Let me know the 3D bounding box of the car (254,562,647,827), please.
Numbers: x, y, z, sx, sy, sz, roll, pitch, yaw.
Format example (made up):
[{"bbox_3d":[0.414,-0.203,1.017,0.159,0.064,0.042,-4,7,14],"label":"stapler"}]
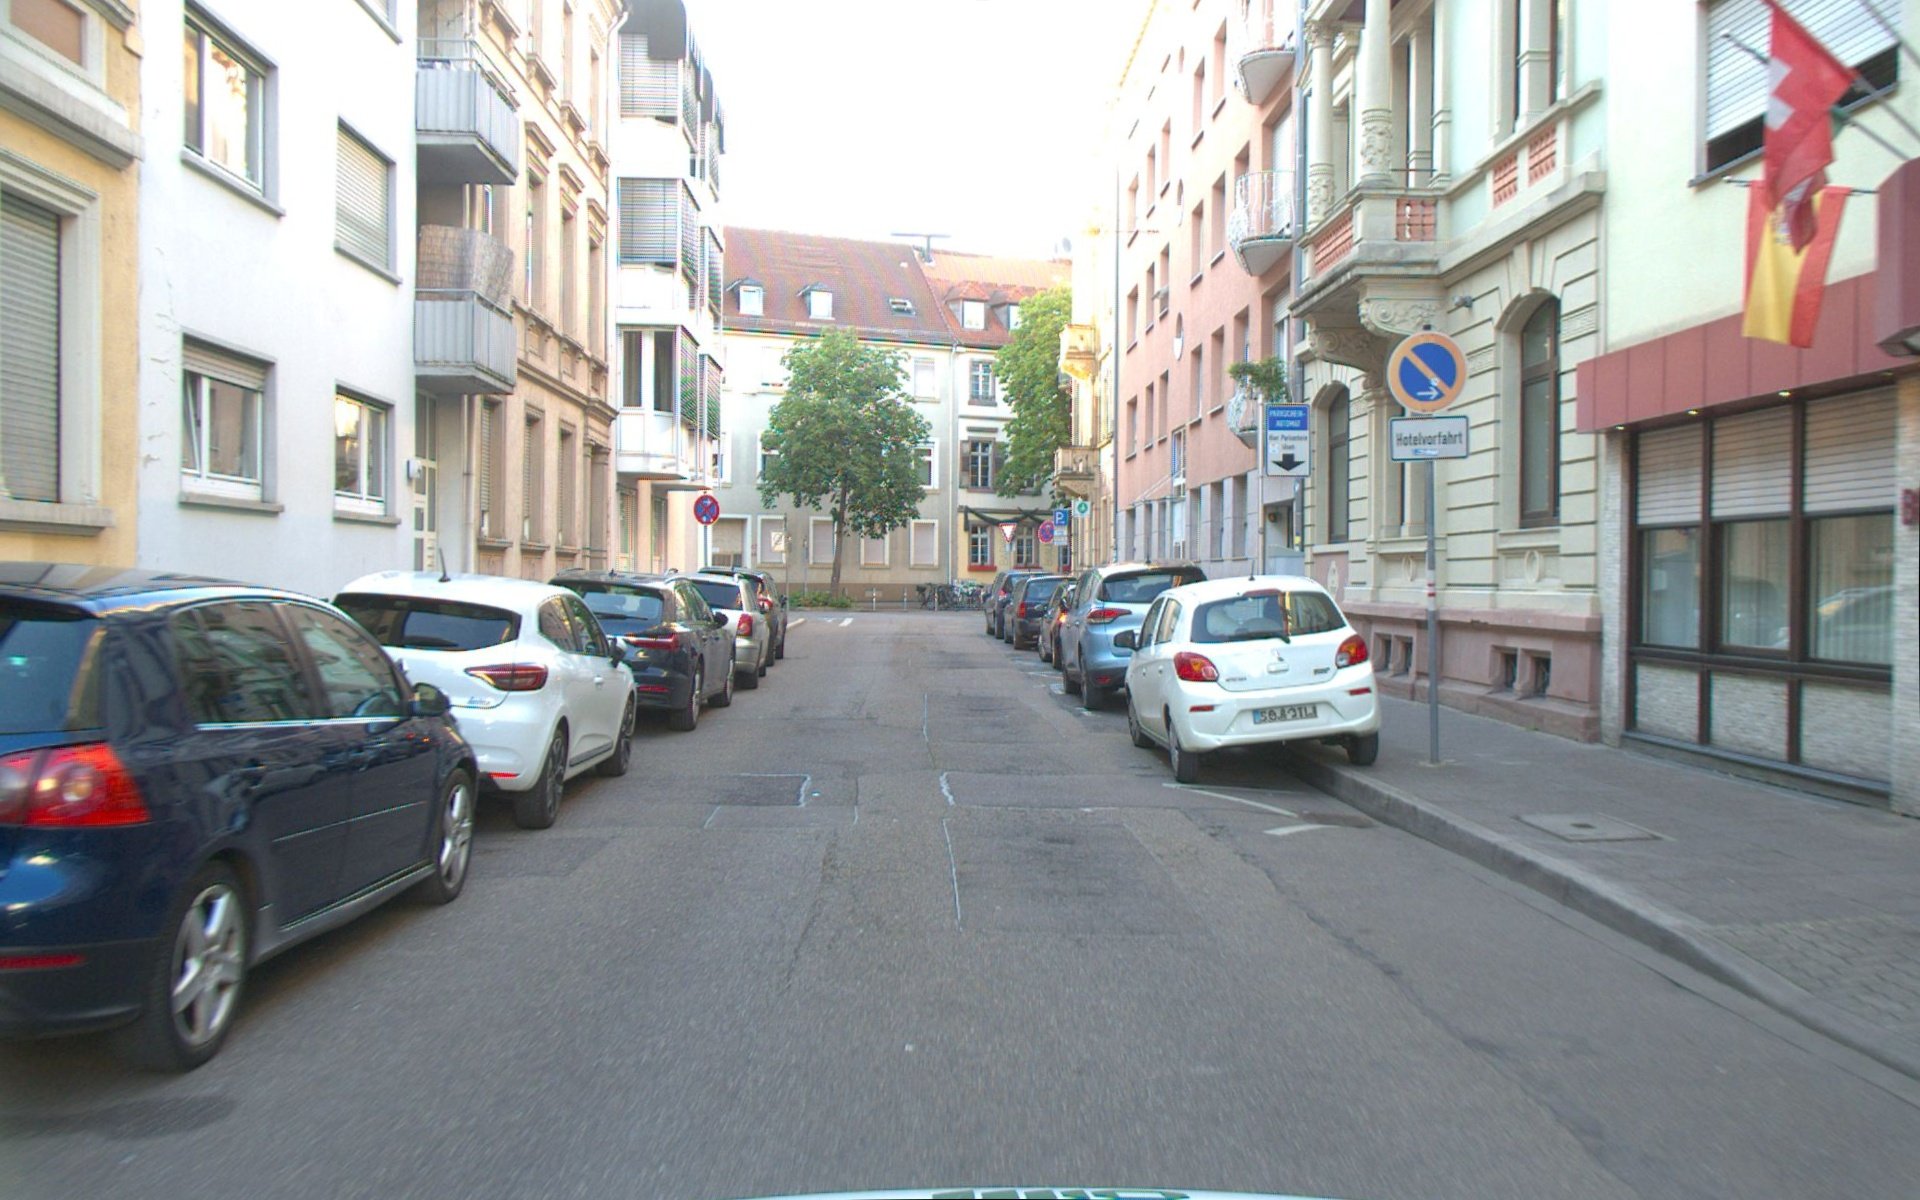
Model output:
[{"bbox_3d":[-3.240,0.494,11.248,1.597,1.498,3.753,0,1,-2],"label":"car"}]

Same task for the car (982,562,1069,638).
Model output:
[{"bbox_3d":[1.576,-0.025,41.133,1.953,1.792,4.000,0,1,-1],"label":"car"}]

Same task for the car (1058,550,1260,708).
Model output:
[{"bbox_3d":[2.346,0.295,20.481,1.953,1.762,4.059,0,1,-1],"label":"car"}]

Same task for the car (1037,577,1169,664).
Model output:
[{"bbox_3d":[2.429,0.306,28.928,1.953,1.408,3.706,0,1,-1],"label":"car"}]

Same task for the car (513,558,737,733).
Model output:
[{"bbox_3d":[-3.355,0.369,17.293,1.582,1.597,4.302,0,1,-2],"label":"car"}]

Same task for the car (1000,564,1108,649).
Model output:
[{"bbox_3d":[1.985,0.105,36.050,1.954,1.738,3.998,0,1,-3],"label":"car"}]

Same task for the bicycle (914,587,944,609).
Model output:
[{"bbox_3d":[-1.369,-0.068,72.930,0.513,0.965,1.704,0,-1,-34],"label":"bicycle"}]

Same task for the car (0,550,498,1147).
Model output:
[{"bbox_3d":[-3.054,0.594,6.137,1.693,1.535,3.829,0,1,-2],"label":"car"}]

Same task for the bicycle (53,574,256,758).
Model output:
[{"bbox_3d":[-5.863,0.426,12.175,0.512,1.221,2.122,-1,1,-3],"label":"bicycle"}]

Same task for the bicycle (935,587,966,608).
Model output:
[{"bbox_3d":[-0.417,-0.112,71.511,0.513,0.910,1.704,0,1,-34],"label":"bicycle"}]

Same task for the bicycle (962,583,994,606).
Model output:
[{"bbox_3d":[0.782,-0.253,72.188,0.513,0.965,1.704,-1,1,-34],"label":"bicycle"}]

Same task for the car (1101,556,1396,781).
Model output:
[{"bbox_3d":[2.281,0.459,14.011,1.629,1.483,3.758,-6,1,-2],"label":"car"}]

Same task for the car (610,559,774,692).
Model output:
[{"bbox_3d":[-3.675,0.299,23.368,1.955,1.695,4.405,0,1,-5],"label":"car"}]

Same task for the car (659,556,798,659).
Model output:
[{"bbox_3d":[-4.018,0.126,29.323,1.953,1.691,3.976,0,0,-1],"label":"car"}]
